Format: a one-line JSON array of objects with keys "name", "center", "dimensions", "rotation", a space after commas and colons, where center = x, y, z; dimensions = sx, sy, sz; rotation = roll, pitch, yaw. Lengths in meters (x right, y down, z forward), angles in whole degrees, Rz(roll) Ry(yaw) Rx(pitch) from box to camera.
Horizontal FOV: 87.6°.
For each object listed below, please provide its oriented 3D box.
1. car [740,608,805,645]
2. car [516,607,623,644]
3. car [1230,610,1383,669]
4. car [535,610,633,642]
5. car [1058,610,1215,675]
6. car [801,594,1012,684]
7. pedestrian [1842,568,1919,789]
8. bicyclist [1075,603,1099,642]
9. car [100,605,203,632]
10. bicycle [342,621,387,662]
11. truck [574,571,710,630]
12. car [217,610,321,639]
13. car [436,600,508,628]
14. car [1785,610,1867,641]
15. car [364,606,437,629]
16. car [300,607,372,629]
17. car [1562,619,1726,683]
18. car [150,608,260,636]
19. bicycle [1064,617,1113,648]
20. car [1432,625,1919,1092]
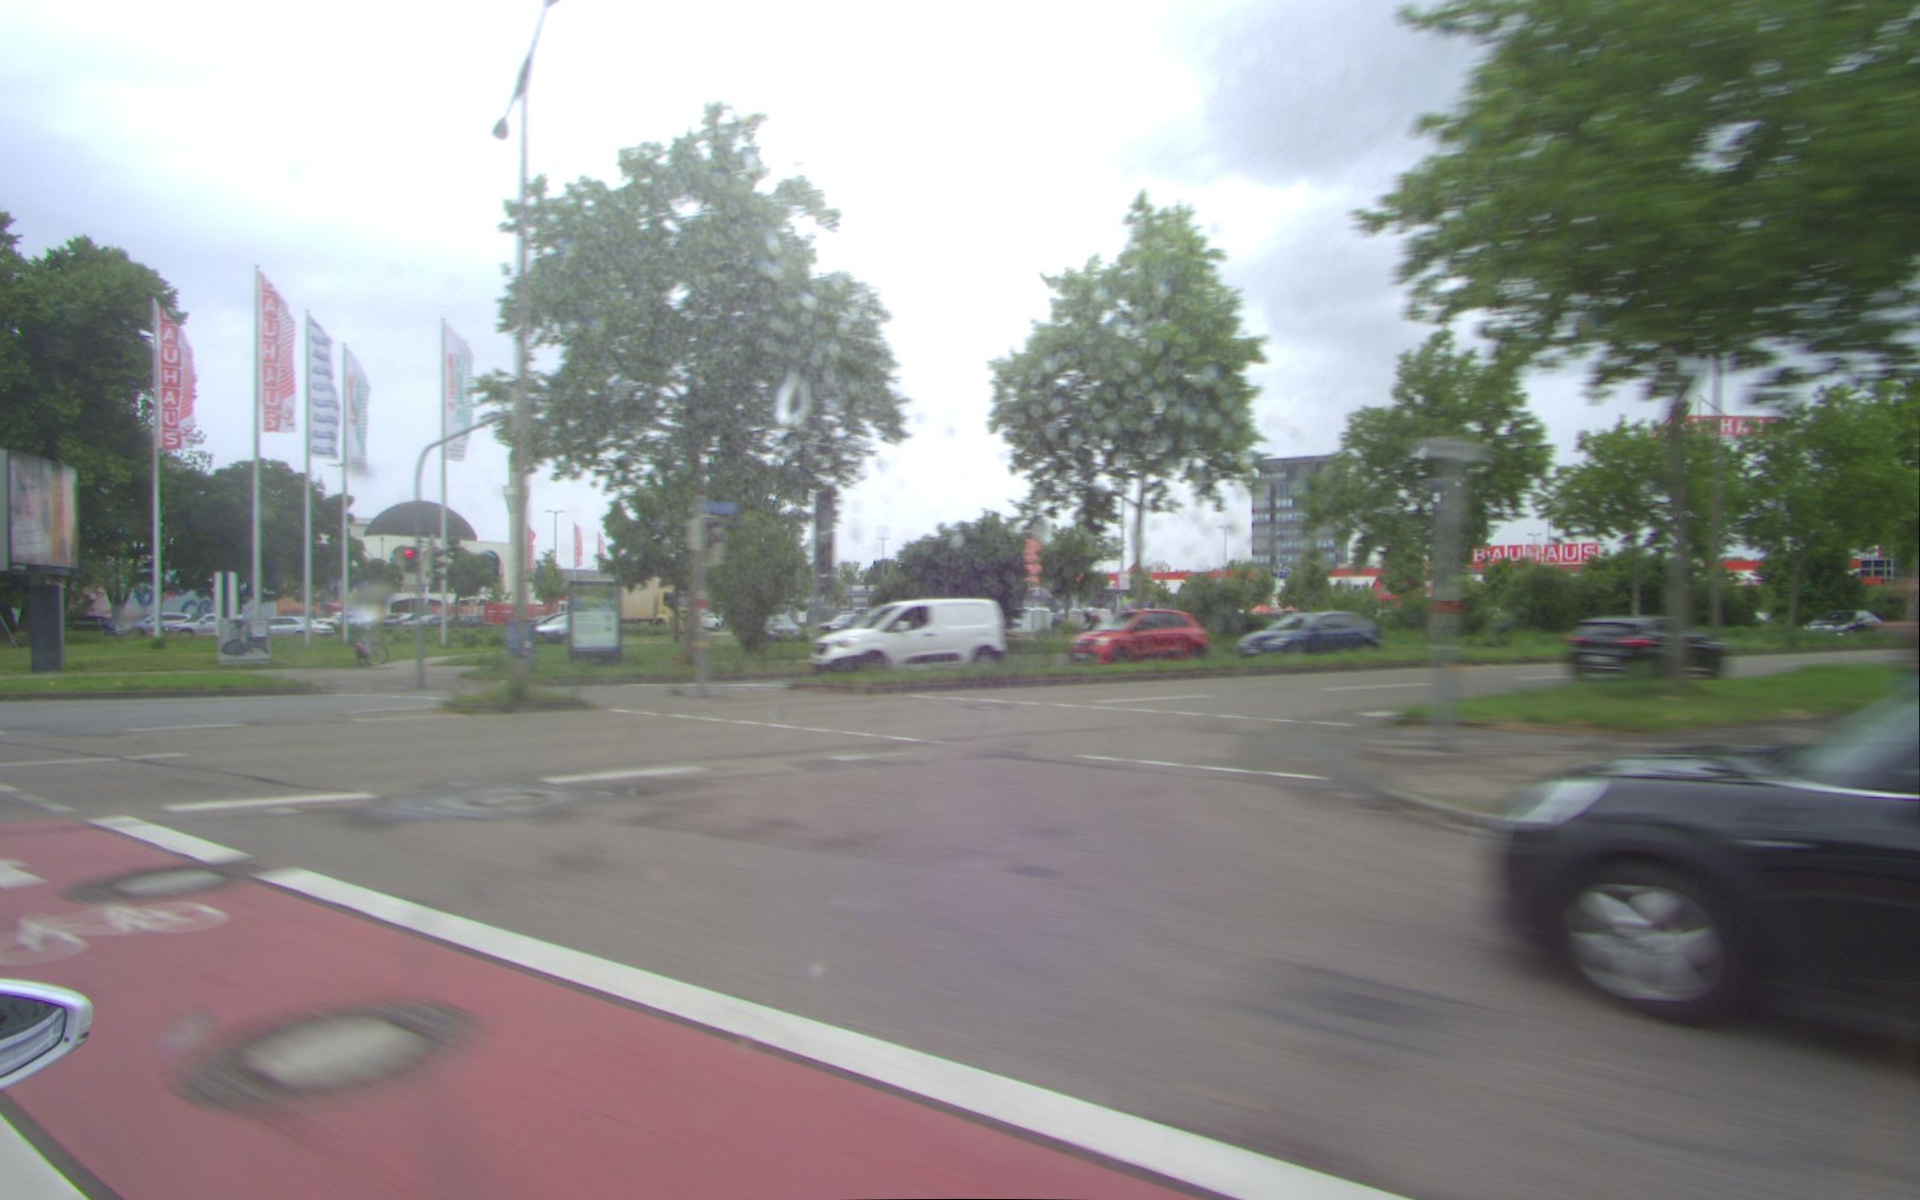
[{"name": "car", "center": [-8.265, 1.205, 43.945], "dimensions": [1.798, 1.516, 4.220], "rotation": [1, -2, -25]}, {"name": "car", "center": [-16.965, 1.131, 43.742], "dimensions": [1.900, 1.516, 4.224], "rotation": [0, -2, 25]}, {"name": "car", "center": [9.535, 1.036, 27.528], "dimensions": [4.004, 1.502, 1.689], "rotation": [0, 0, -27]}, {"name": "car", "center": [-18.898, 1.312, 50.395], "dimensions": [4.538, 1.516, 1.926], "rotation": [1, -2, -22]}, {"name": "car", "center": [4.467, 1.022, 25.301], "dimensions": [3.632, 1.552, 1.689], "rotation": [0, 0, -27]}, {"name": "car", "center": [-1.176, 0.837, 22.491], "dimensions": [4.356, 1.852, 1.872], "rotation": [0, -2, -29]}, {"name": "pedestrian", "center": [7.492, 0.596, 7.773], "dimensions": [0.733, 1.661, 0.774], "rotation": [0, 0, -30]}, {"name": "bicyclist", "center": [4.943, 0.875, 39.119], "dimensions": [0.747, 1.540, 0.580], "rotation": [0, 1, -20]}, {"name": "car", "center": [-49.262, 1.180, 61.117], "dimensions": [1.927, 1.516, 4.534], "rotation": [0, -2, 24]}, {"name": "bicycle", "center": [-17.172, 1.184, 28.907], "dimensions": [0.479, 1.132, 1.806], "rotation": [0, 0, -9]}, {"name": "truck", "center": [-20.755, 0.111, 65.250], "dimensions": [9.107, 3.609, 2.938], "rotation": [-1, -2, 29]}, {"name": "car", "center": [-38.444, 1.376, 55.855], "dimensions": [1.899, 1.516, 4.447], "rotation": [0, -2, 24]}, {"name": "car", "center": [-36.267, 1.019, 74.507], "dimensions": [2.119, 2.078, 4.555], "rotation": [0, 0, 23]}, {"name": "car", "center": [42.782, 1.241, 49.482], "dimensions": [4.004, 1.502, 1.689], "rotation": [0, 0, -27]}, {"name": "car", "center": [-42.890, 1.346, 76.925], "dimensions": [2.119, 1.699, 4.555], "rotation": [0, 0, 23]}, {"name": "car", "center": [-50.203, 1.393, 80.686], "dimensions": [2.119, 1.699, 4.555], "rotation": [0, 0, 23]}, {"name": "car", "center": [15.030, 1.105, 21.986], "dimensions": [3.370, 1.297, 1.645], "rotation": [2, -1, -29]}, {"name": "car", "center": [-44.112, 1.300, 58.629], "dimensions": [2.136, 1.516, 4.675], "rotation": [-1, -3, 27]}, {"name": "bicycle", "center": [5.026, 1.265, 39.157], "dimensions": [1.862, 1.164, 0.580], "rotation": [0, 1, -21]}, {"name": "car", "center": [3.875, 0.843, 3.439], "dimensions": [1.667, 1.450, 3.740], "rotation": [2, -2, -41]}]
